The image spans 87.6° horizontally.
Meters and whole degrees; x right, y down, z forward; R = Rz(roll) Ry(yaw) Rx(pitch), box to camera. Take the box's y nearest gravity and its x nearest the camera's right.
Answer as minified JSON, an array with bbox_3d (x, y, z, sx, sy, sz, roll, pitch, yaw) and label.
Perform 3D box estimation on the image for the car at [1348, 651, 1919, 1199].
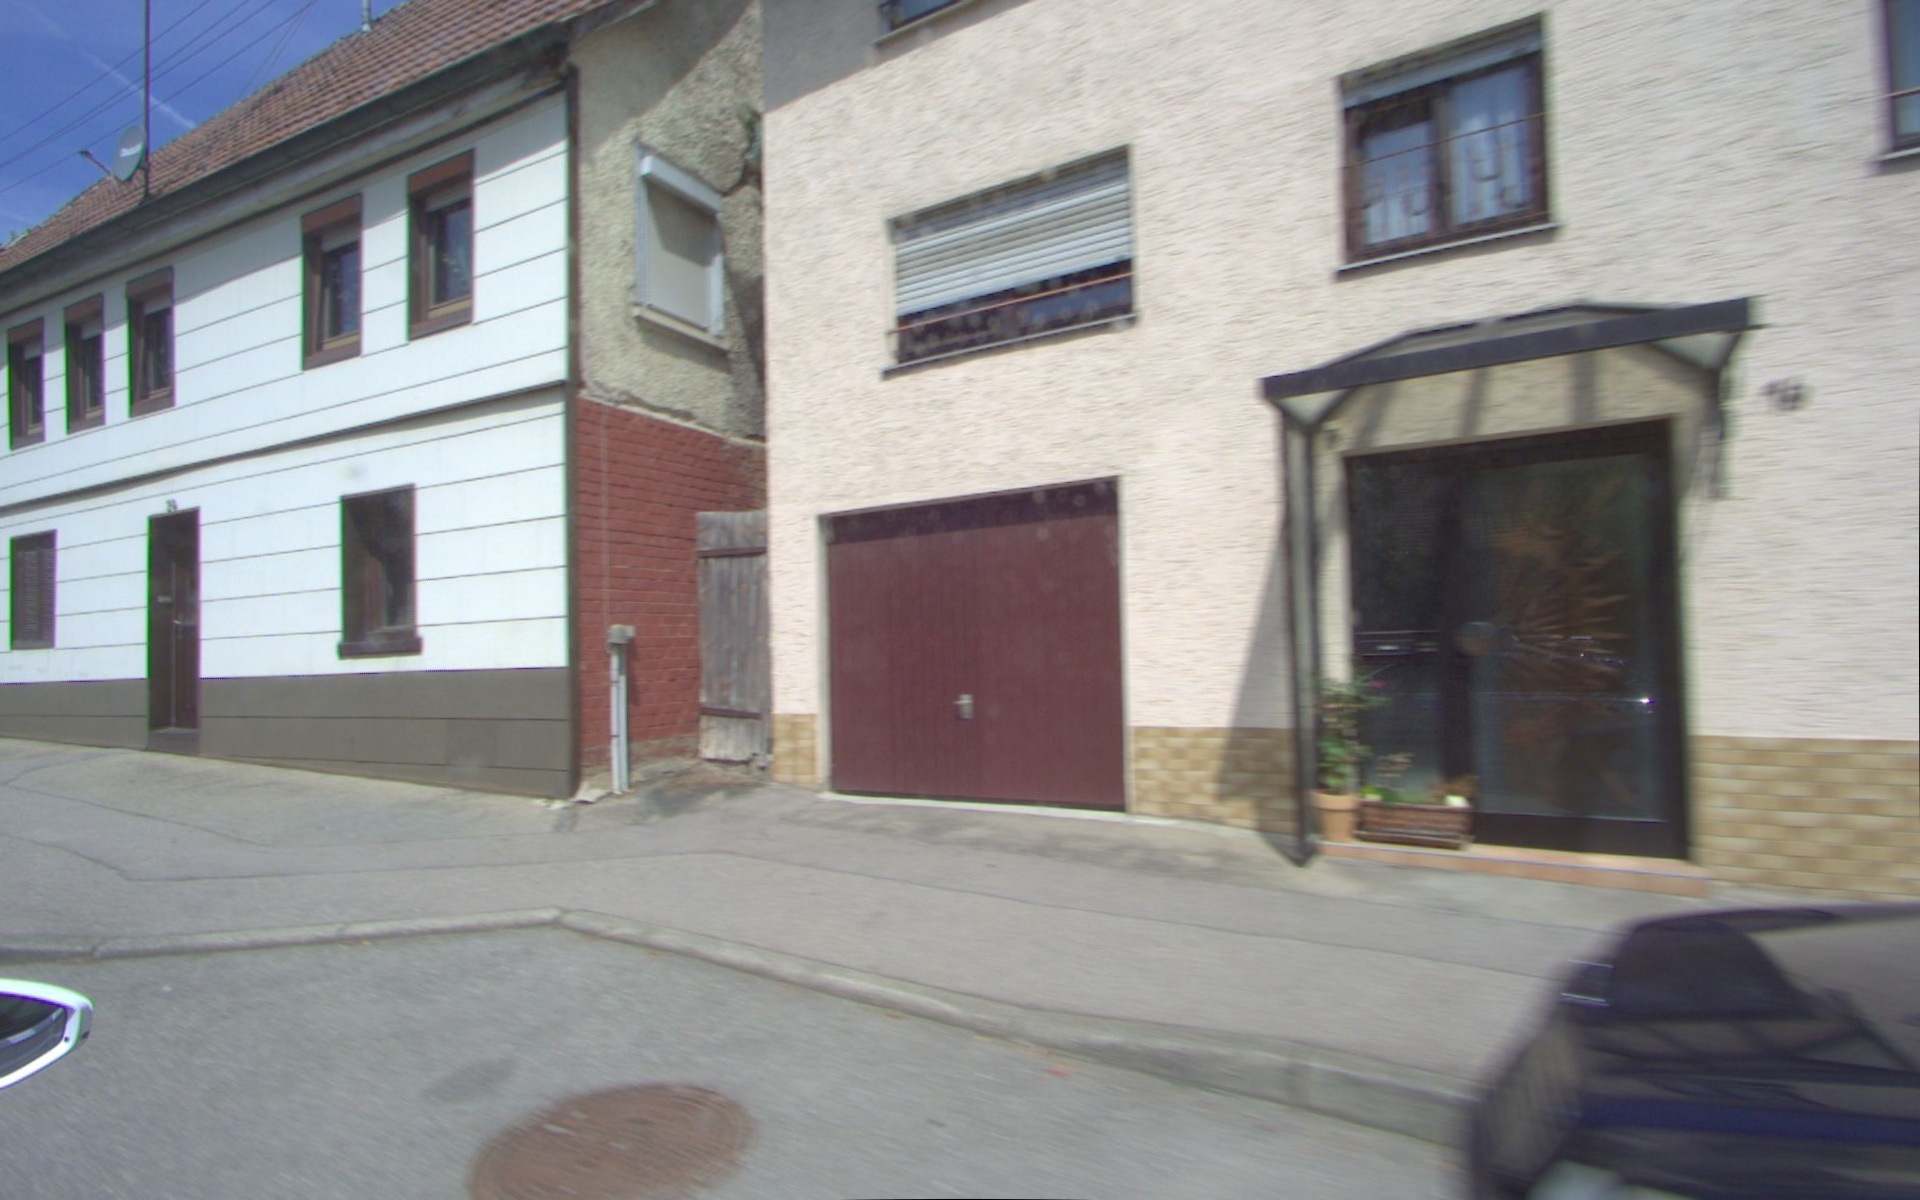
[{"bbox_3d":[2.654,0.776,0.881,4.124,1.370,1.664,-1,-1,30],"label":"car"}]
